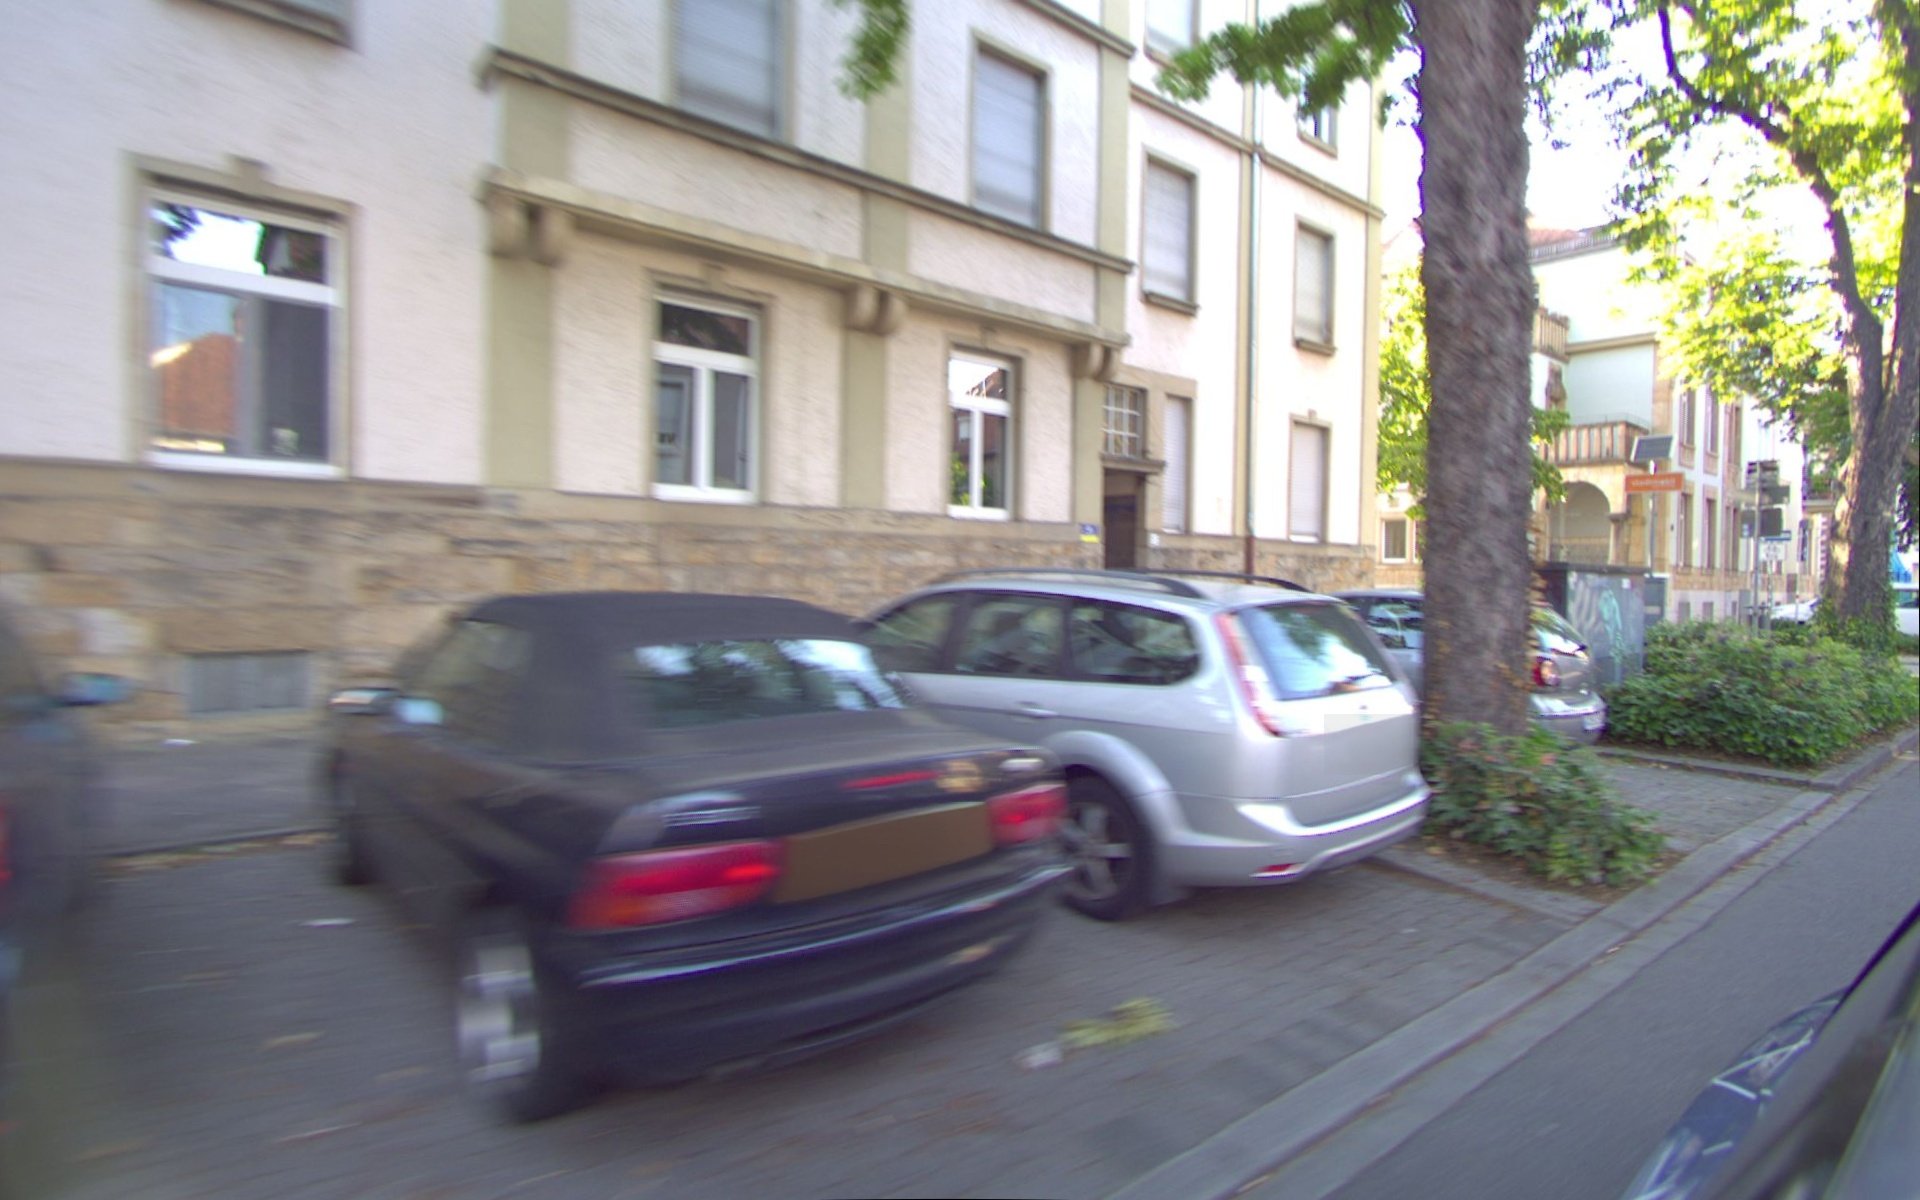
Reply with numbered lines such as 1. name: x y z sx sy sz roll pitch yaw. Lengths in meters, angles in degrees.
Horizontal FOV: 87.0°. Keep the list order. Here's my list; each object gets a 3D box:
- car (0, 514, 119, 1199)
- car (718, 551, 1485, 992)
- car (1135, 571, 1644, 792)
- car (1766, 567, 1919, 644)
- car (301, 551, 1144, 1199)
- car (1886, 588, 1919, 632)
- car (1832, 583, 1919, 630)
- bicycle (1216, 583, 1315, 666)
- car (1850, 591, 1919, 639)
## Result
1. car: -3.420 0.559 2.803 1.532 1.502 3.803 0 1 -38
2. car: 0.465 0.568 5.740 1.685 1.596 4.149 0 1 -45
3. car: 3.644 0.531 9.048 1.720 1.455 3.797 0 3 -44
4. car: 24.269 0.138 26.725 1.965 1.829 4.324 0 3 -40
5. car: -1.321 0.580 4.063 1.785 1.456 3.801 0 1 -40
6. car: 36.522 0.445 36.631 1.656 1.553 4.157 1 3 -38
7. car: 34.039 0.275 35.986 1.796 1.553 4.324 0 3 -40
8. bicycle: 4.808 0.368 15.863 1.924 1.227 0.585 0 1 -43
9. car: 32.484 0.542 33.922 1.703 1.480 3.757 0 3 -40
